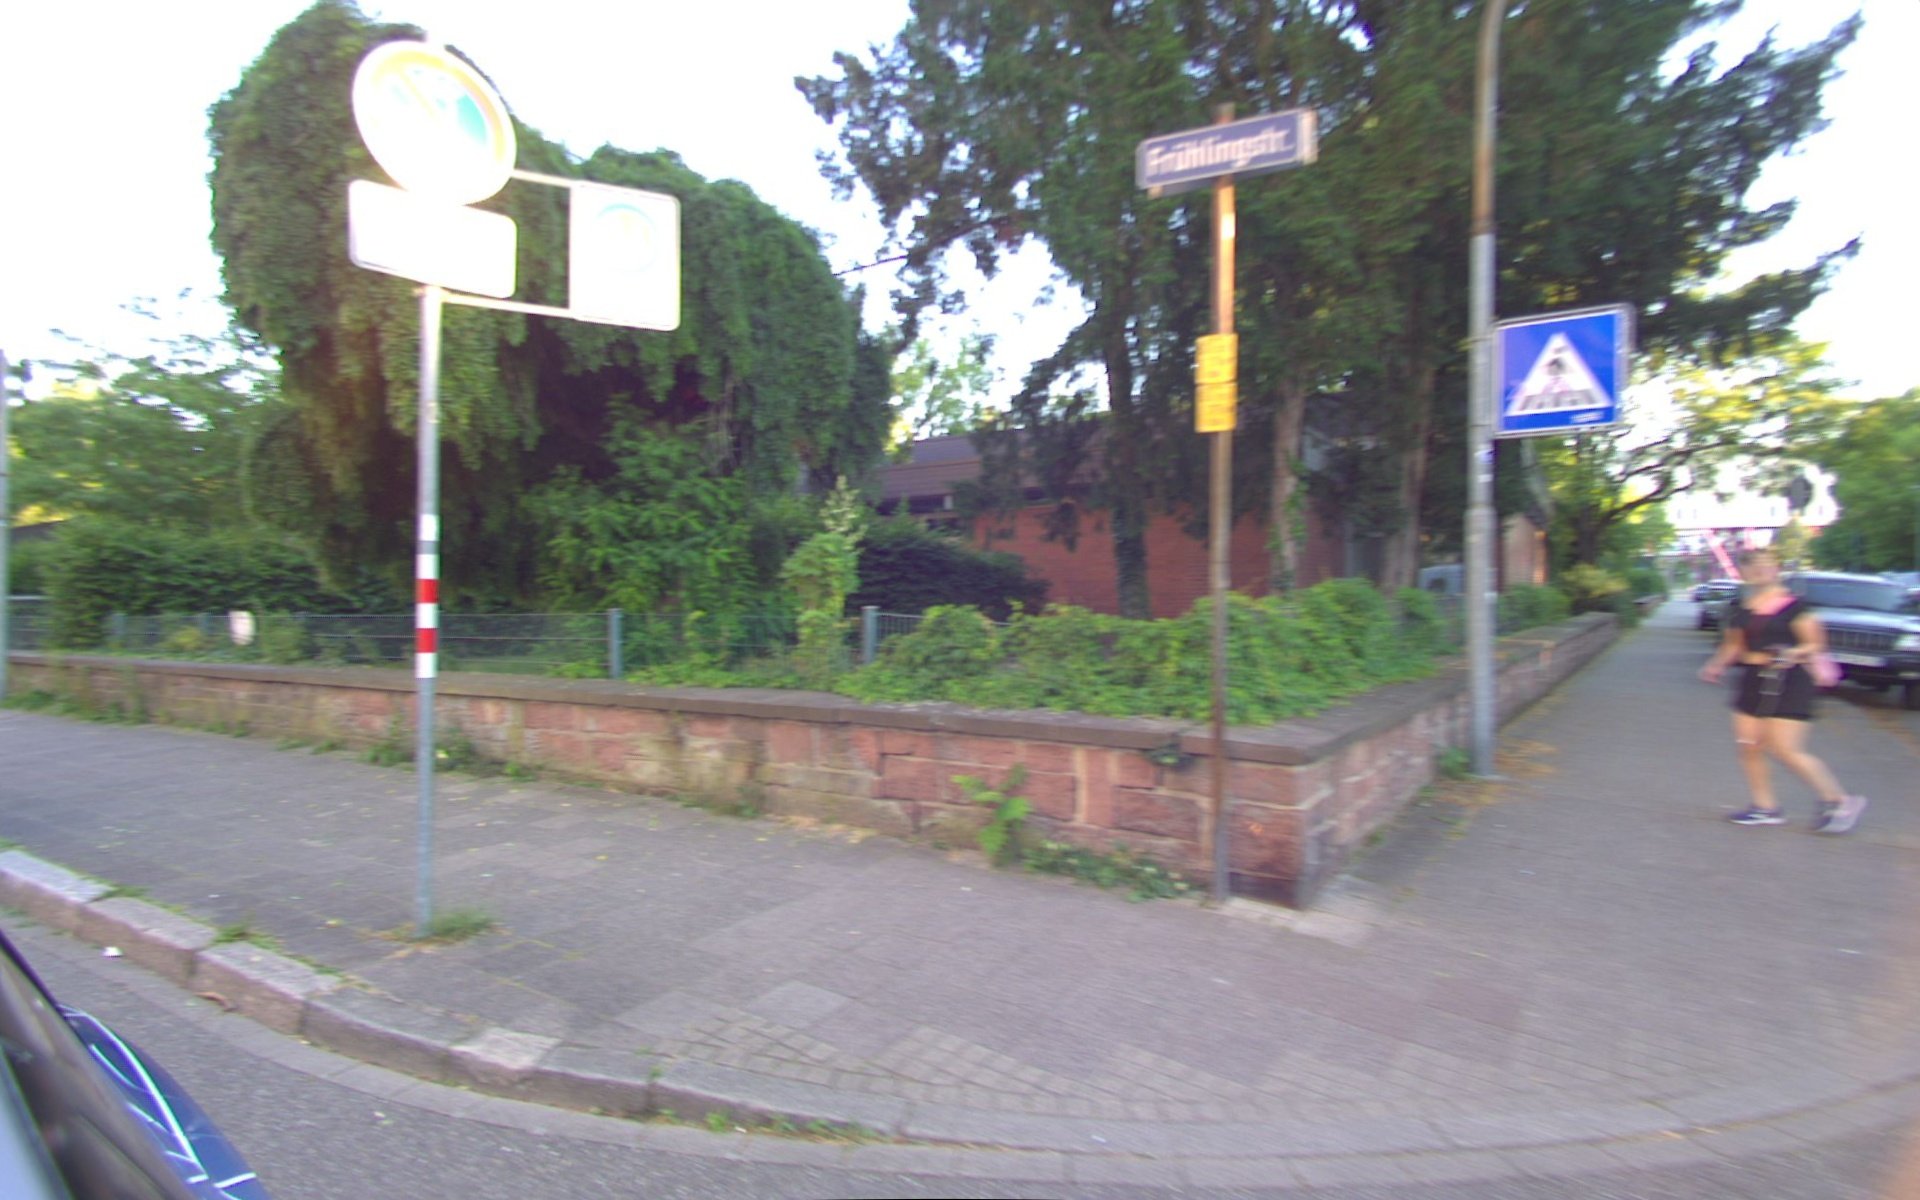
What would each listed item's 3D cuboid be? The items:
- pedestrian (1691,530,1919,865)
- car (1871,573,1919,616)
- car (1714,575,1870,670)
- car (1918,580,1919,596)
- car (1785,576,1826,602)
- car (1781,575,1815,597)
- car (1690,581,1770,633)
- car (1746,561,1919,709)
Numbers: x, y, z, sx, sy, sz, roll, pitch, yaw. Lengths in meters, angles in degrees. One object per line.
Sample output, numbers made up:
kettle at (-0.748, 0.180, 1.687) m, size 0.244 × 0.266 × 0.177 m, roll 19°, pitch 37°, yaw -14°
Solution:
pedestrian at (4.900, 0.477, 5.844) m, size 0.812 × 1.738 × 0.863 m, roll -4°, pitch 6°, yaw -42°
car at (44.498, -0.310, 47.420) m, size 1.960 × 1.850 × 3.840 m, roll -7°, pitch -4°, yaw 33°
car at (15.407, 0.363, 18.940) m, size 1.783 × 1.511 × 3.840 m, roll 4°, pitch 2°, yaw 34°
car at (35.210, -0.021, 35.327) m, size 1.782 × 1.584 × 3.840 m, roll -7°, pitch -4°, yaw 33°
car at (64.533, -0.822, 77.260) m, size 1.782 × 1.796 × 3.966 m, roll -7°, pitch -4°, yaw 33°
car at (75.019, -1.240, 90.628) m, size 1.782 × 1.796 × 3.966 m, roll -7°, pitch -4°, yaw 33°
car at (25.503, 0.205, 33.640) m, size 1.783 × 1.511 × 3.840 m, roll 4°, pitch 2°, yaw 34°
car at (12.196, 0.407, 13.965) m, size 1.783 × 1.767 × 3.840 m, roll 2°, pitch 1°, yaw 34°
